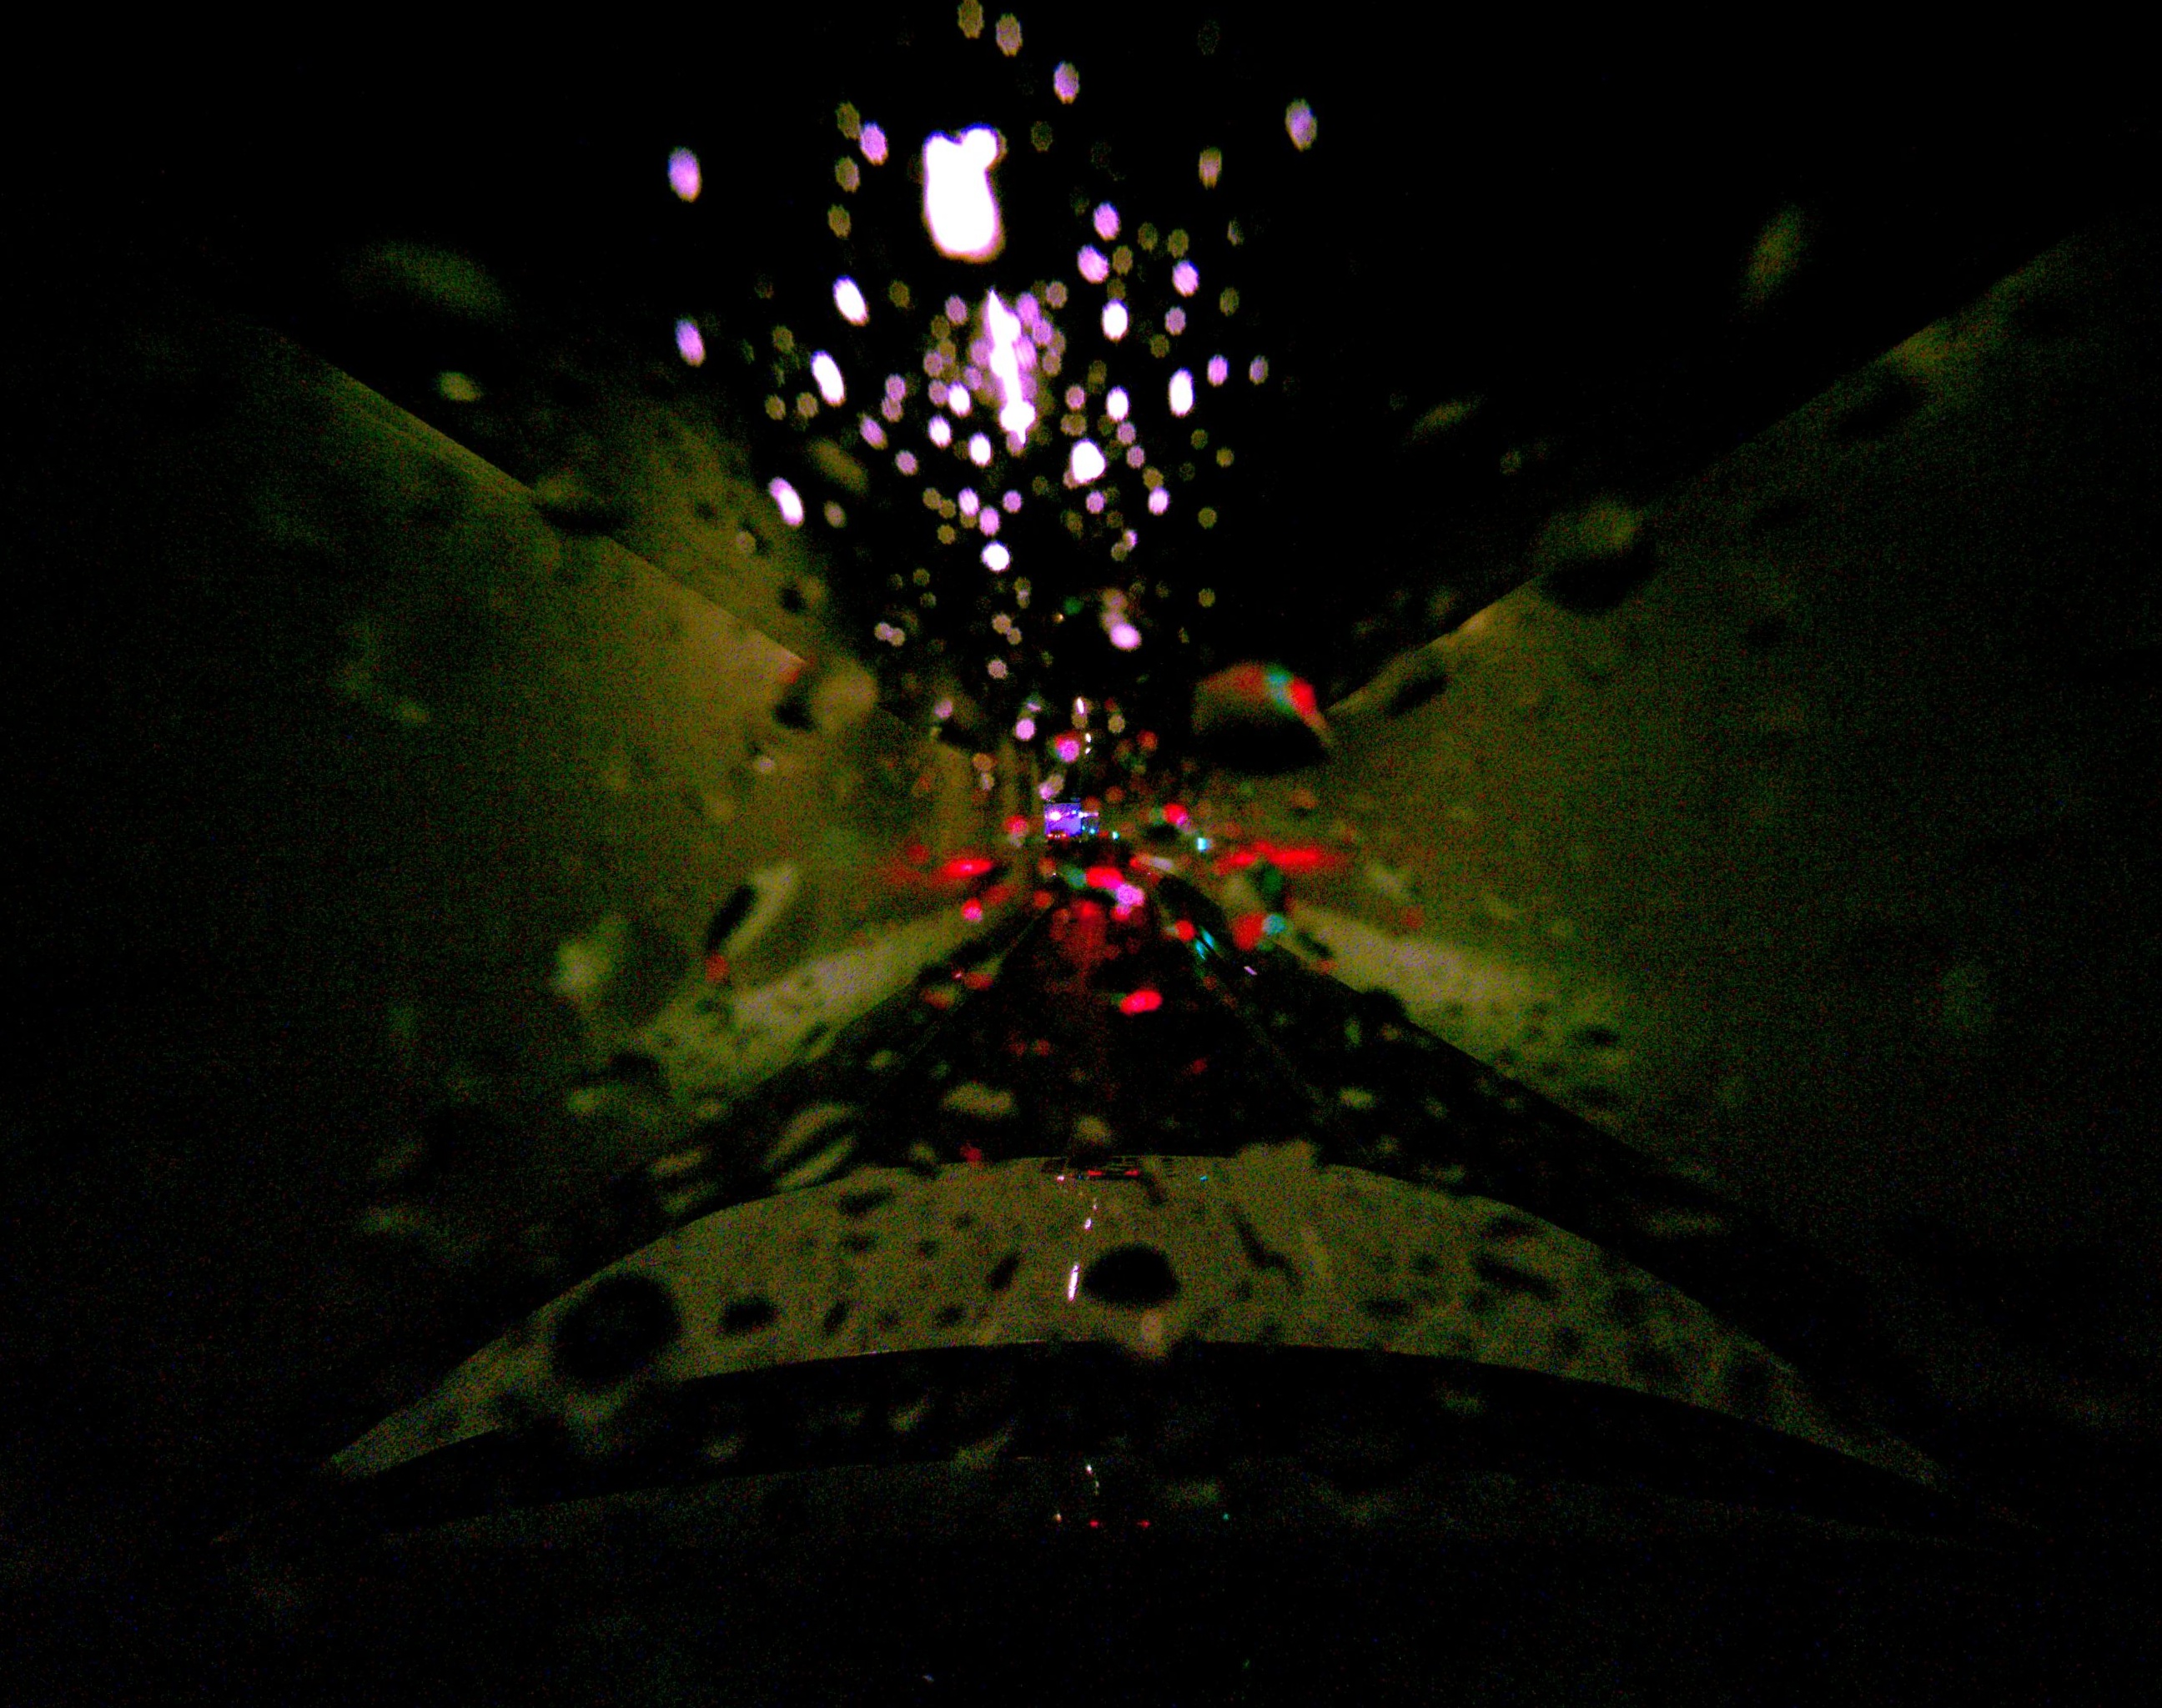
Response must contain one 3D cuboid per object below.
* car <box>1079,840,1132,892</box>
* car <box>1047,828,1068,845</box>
[{"bbox_3d":[0.770,0.328,25.652,1.526,1.397,3.436,-1,2,2],"label":"car"},{"bbox_3d":[-2.285,-1.661,77.780,1.877,1.620,3.995,-1,1,-4],"label":"car"}]
